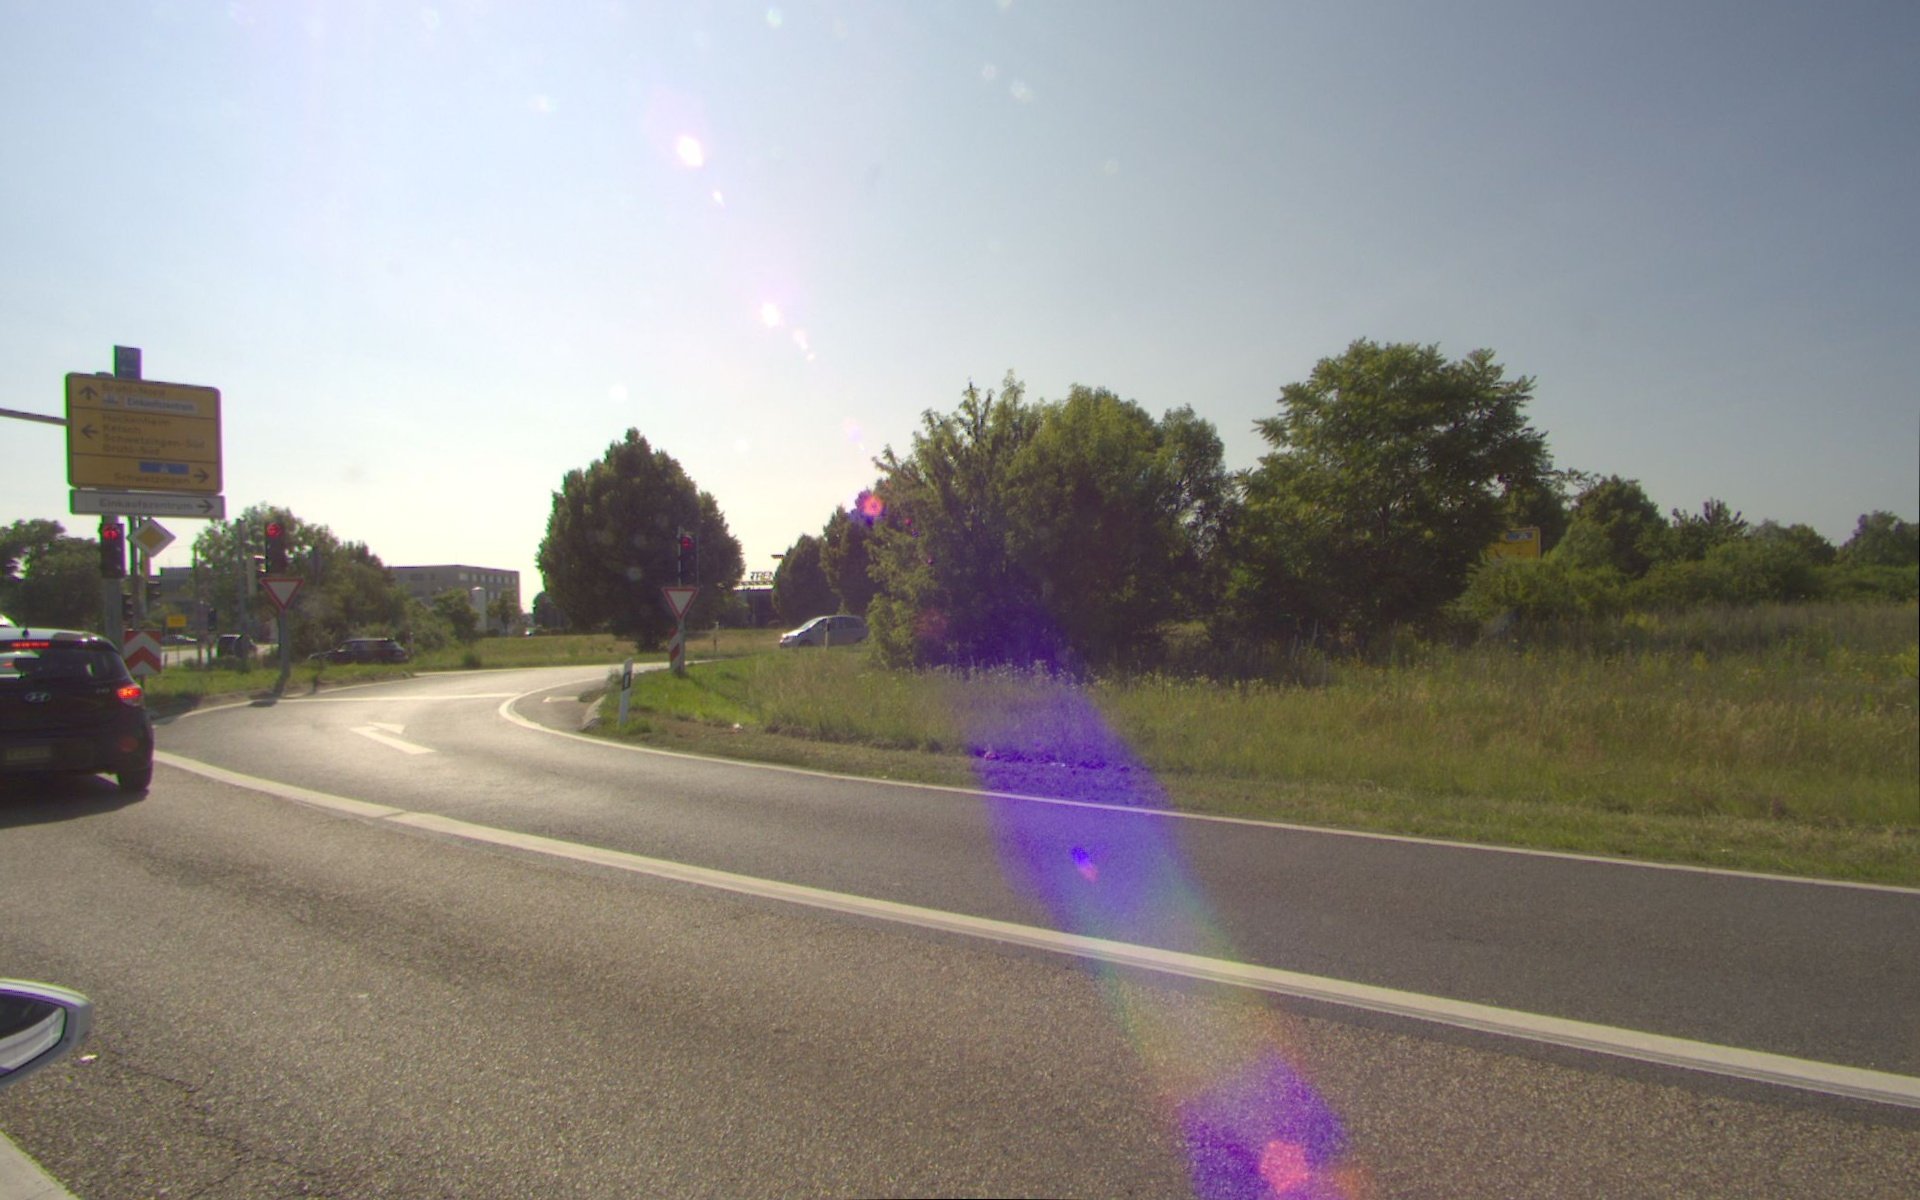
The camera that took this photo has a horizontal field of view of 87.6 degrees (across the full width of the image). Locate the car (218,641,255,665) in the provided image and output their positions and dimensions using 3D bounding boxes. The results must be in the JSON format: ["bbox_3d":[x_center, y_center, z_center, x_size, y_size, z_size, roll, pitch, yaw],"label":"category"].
[{"bbox_3d":[-51.747,3.755,71.710,1.857,1.694,3.749,1,-3,-32],"label":"car"}]

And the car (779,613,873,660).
[{"bbox_3d":[-5.781,1.591,43.371,3.698,1.977,1.688,1,-2,-30],"label":"car"}]

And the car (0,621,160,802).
[{"bbox_3d":[-8.905,0.942,9.333,3.255,1.466,1.626,-1,-2,39],"label":"car"}]

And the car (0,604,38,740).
[{"bbox_3d":[-13.673,0.928,13.289,3.705,1.698,1.626,-2,-2,39],"label":"car"}]

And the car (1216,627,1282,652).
[{"bbox_3d":[16.174,2.201,56.059,3.562,1.338,1.525,1,-2,-30],"label":"car"}]

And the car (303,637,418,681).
[{"bbox_3d":[-25.437,2.484,42.576,3.809,1.718,1.827,-1,0,2],"label":"car"}]
